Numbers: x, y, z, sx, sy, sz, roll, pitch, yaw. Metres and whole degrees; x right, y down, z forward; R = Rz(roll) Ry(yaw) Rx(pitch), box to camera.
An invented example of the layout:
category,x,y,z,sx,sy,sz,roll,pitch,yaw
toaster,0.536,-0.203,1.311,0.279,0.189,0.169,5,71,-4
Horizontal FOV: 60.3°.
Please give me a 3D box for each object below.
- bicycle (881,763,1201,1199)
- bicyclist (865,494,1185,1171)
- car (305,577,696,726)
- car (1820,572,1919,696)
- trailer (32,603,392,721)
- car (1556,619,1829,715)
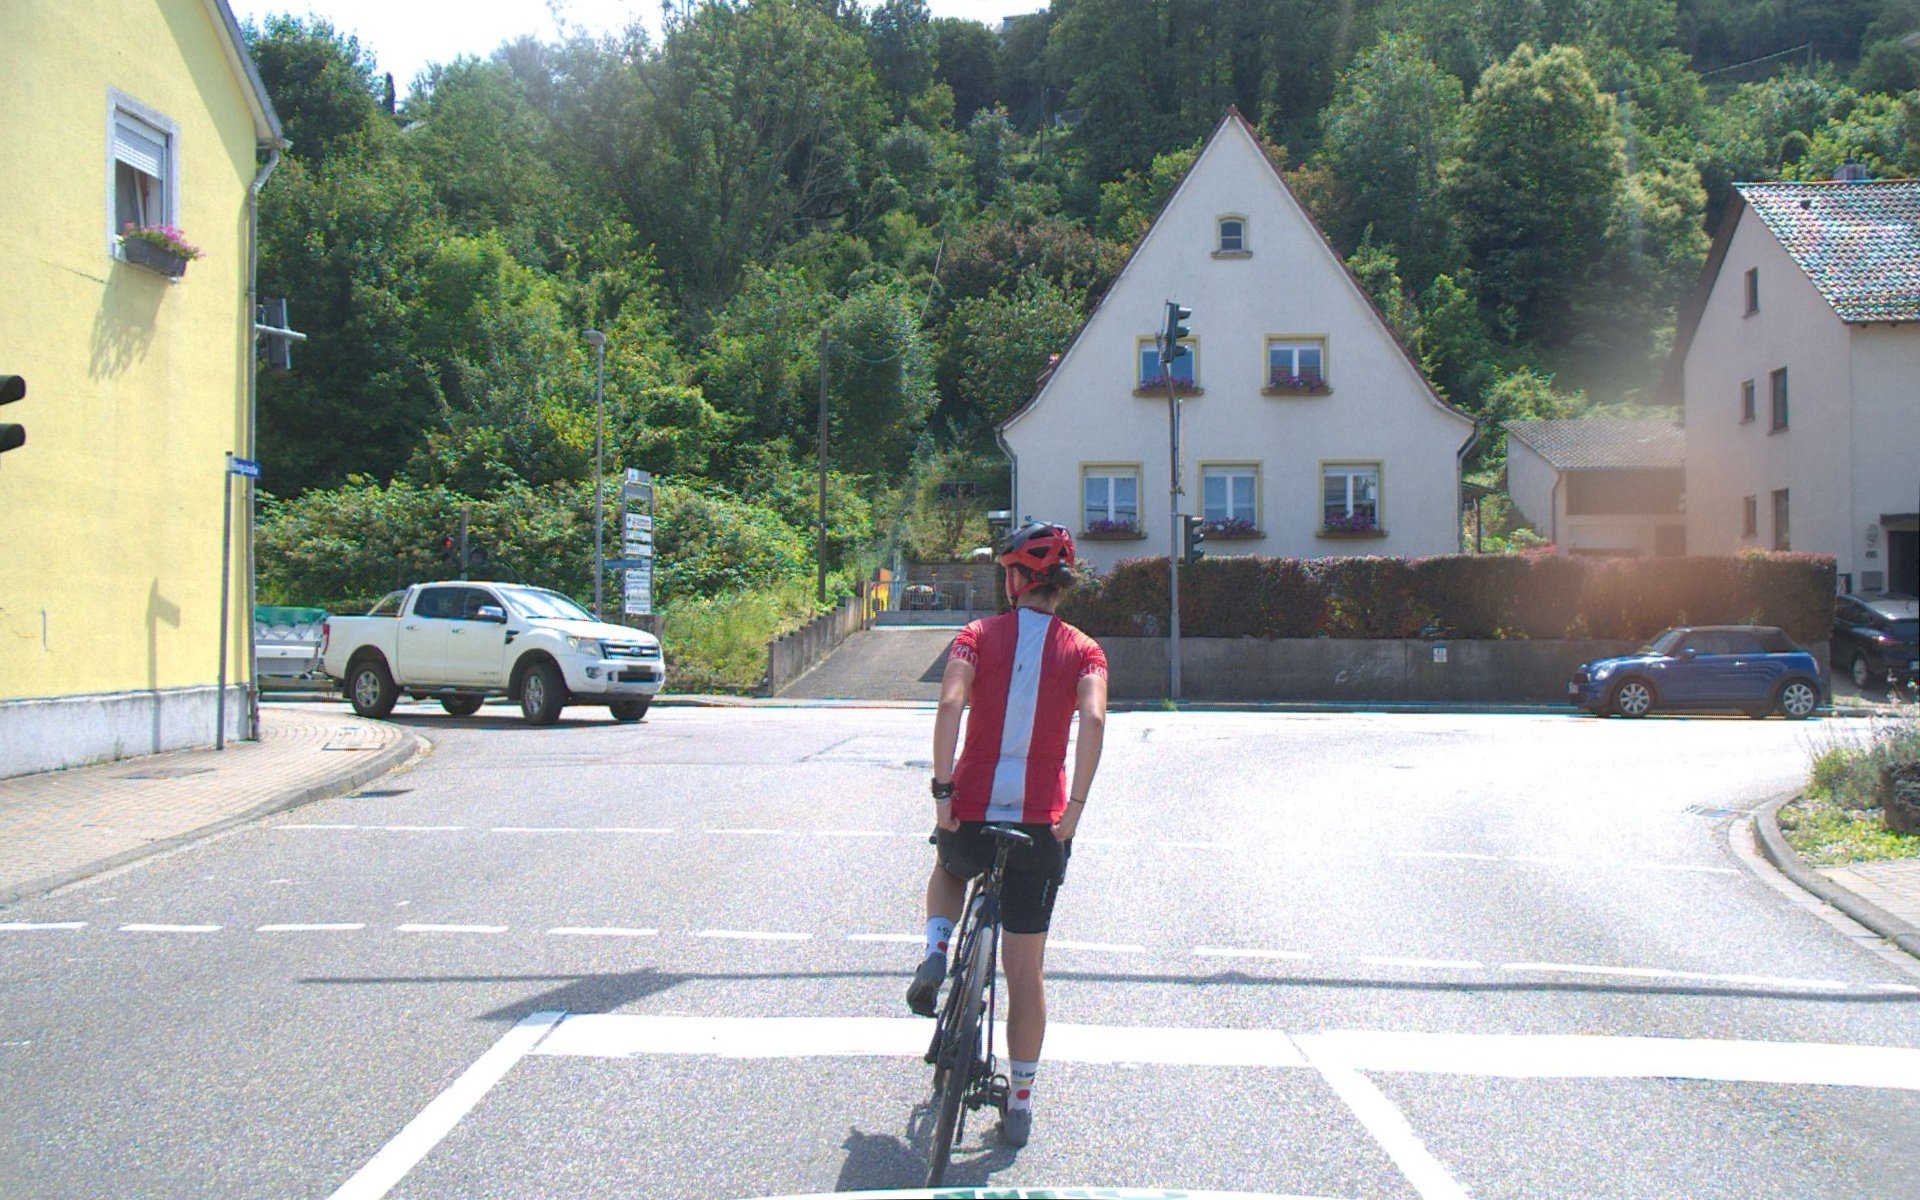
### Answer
category,x,y,z,sx,sy,sz,roll,pitch,yaw
bicycle,0.144,0.989,4.506,0.617,0.920,1.655,1,0,-6
bicyclist,0.144,0.590,4.613,0.746,1.693,0.867,1,0,-6
car,-6.216,0.665,22.186,5.197,1.807,1.975,-1,0,30
car,17.326,0.572,30.769,1.758,1.411,3.696,0,13,19
trailer,-10.822,0.880,24.128,4.337,1.566,1.980,-1,0,4
car,11.320,1.047,25.739,3.533,1.387,1.645,1,-3,3
